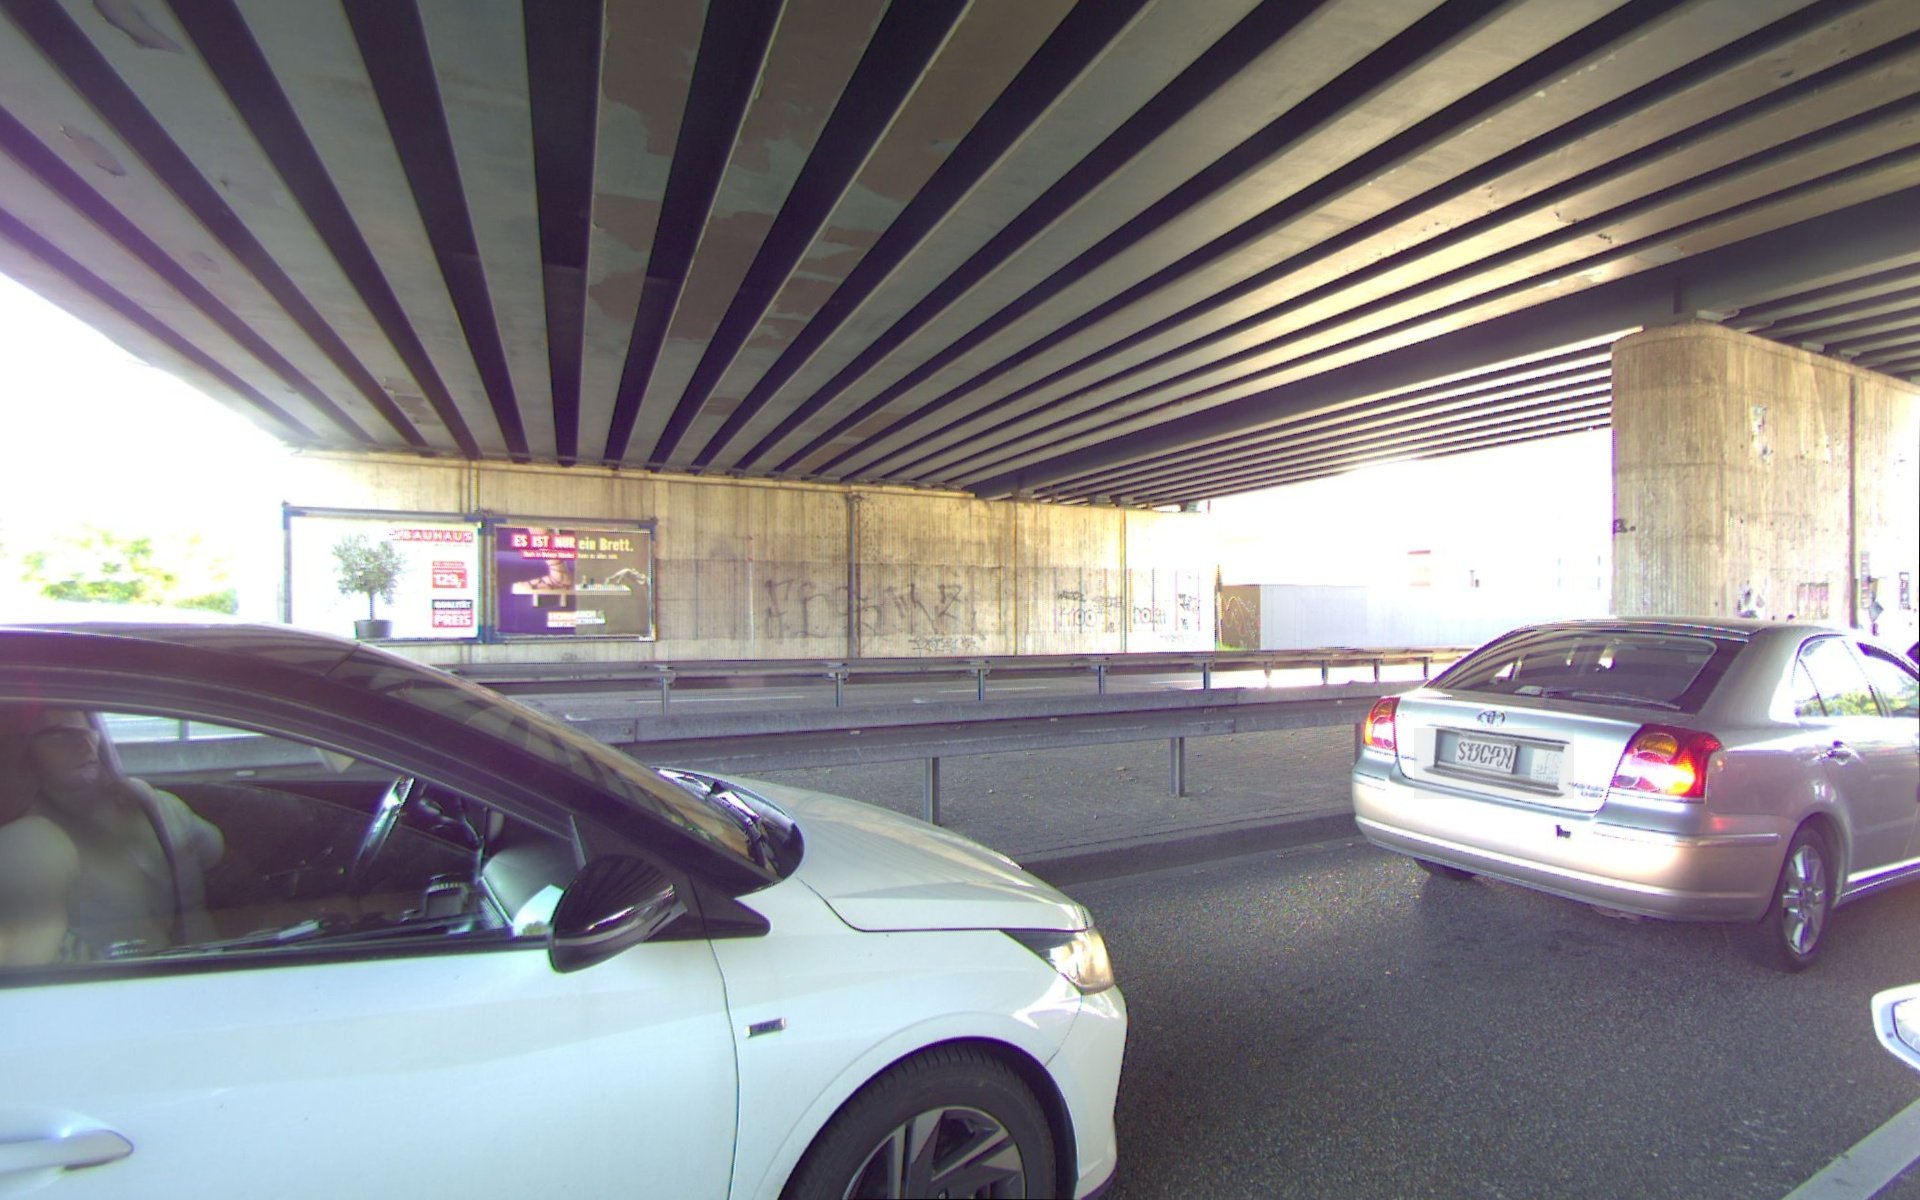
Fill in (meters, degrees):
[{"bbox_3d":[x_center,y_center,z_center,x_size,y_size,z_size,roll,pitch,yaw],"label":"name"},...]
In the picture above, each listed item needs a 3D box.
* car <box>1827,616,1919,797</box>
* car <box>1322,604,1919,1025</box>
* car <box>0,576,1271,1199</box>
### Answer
[{"bbox_3d":[9.545,0.884,8.864,3.687,1.457,1.804,0,0,-31],"label":"car"},{"bbox_3d":[4.088,0.813,5.459,4.270,1.499,1.724,1,-1,-32],"label":"car"},{"bbox_3d":[-1.421,0.728,1.968,3.946,1.499,1.724,1,-1,-32],"label":"car"}]
